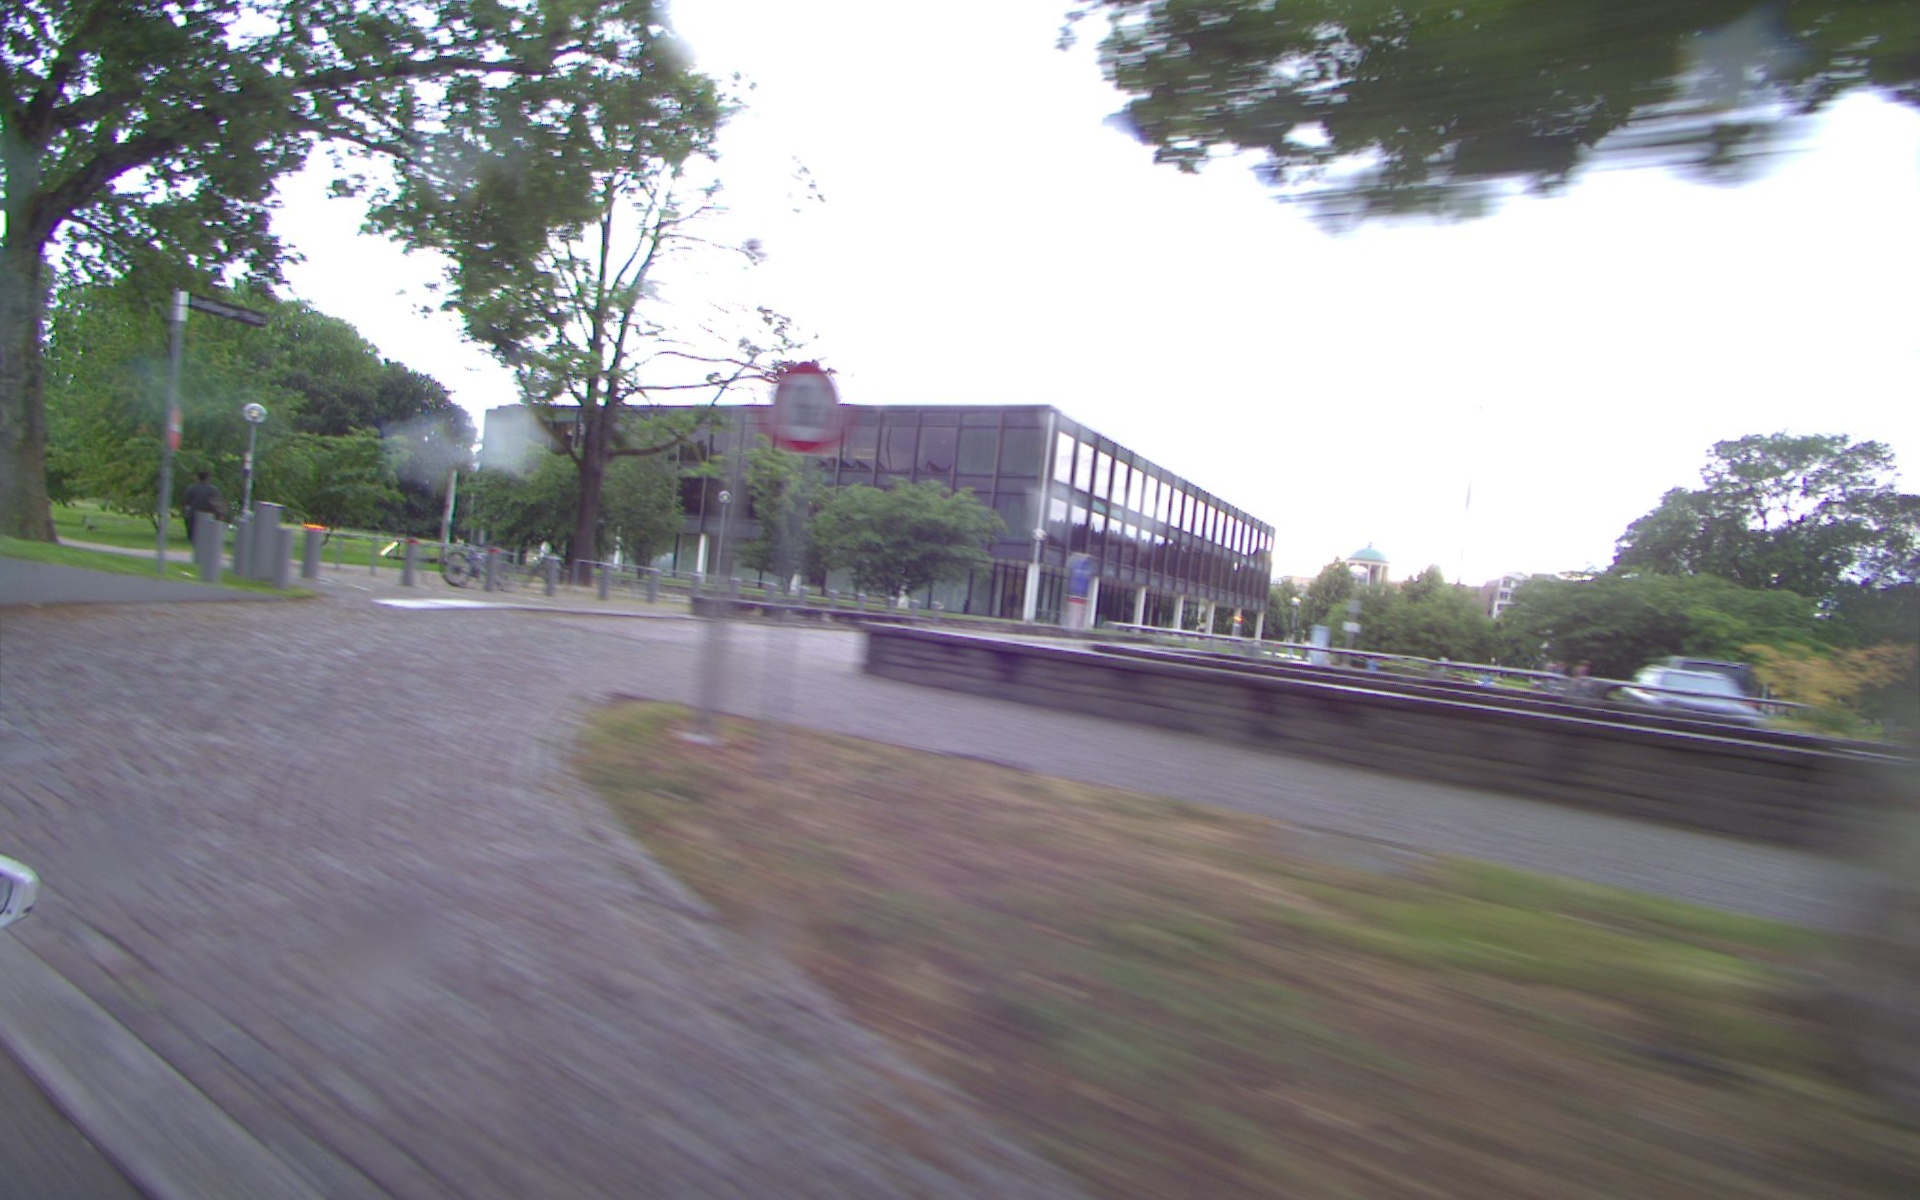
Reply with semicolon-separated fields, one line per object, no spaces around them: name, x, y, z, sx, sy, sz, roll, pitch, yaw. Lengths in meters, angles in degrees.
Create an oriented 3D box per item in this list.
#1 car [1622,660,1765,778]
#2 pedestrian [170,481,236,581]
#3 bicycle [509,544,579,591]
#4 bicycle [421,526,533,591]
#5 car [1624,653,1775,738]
car;12.661;1.955;17.572;1.630;1.620;3.988;7;1;33
pedestrian;-13.986;-1.268;18.594;0.681;1.741;0.705;7;3;32
bicycle;-11.401;-0.881;27.609;0.697;1.099;1.644;8;1;26
bicycle;-10.562;-0.887;22.096;0.942;1.188;2.040;7;1;21
car;19.906;2.532;27.363;2.418;1.785;5.016;6;0;28
